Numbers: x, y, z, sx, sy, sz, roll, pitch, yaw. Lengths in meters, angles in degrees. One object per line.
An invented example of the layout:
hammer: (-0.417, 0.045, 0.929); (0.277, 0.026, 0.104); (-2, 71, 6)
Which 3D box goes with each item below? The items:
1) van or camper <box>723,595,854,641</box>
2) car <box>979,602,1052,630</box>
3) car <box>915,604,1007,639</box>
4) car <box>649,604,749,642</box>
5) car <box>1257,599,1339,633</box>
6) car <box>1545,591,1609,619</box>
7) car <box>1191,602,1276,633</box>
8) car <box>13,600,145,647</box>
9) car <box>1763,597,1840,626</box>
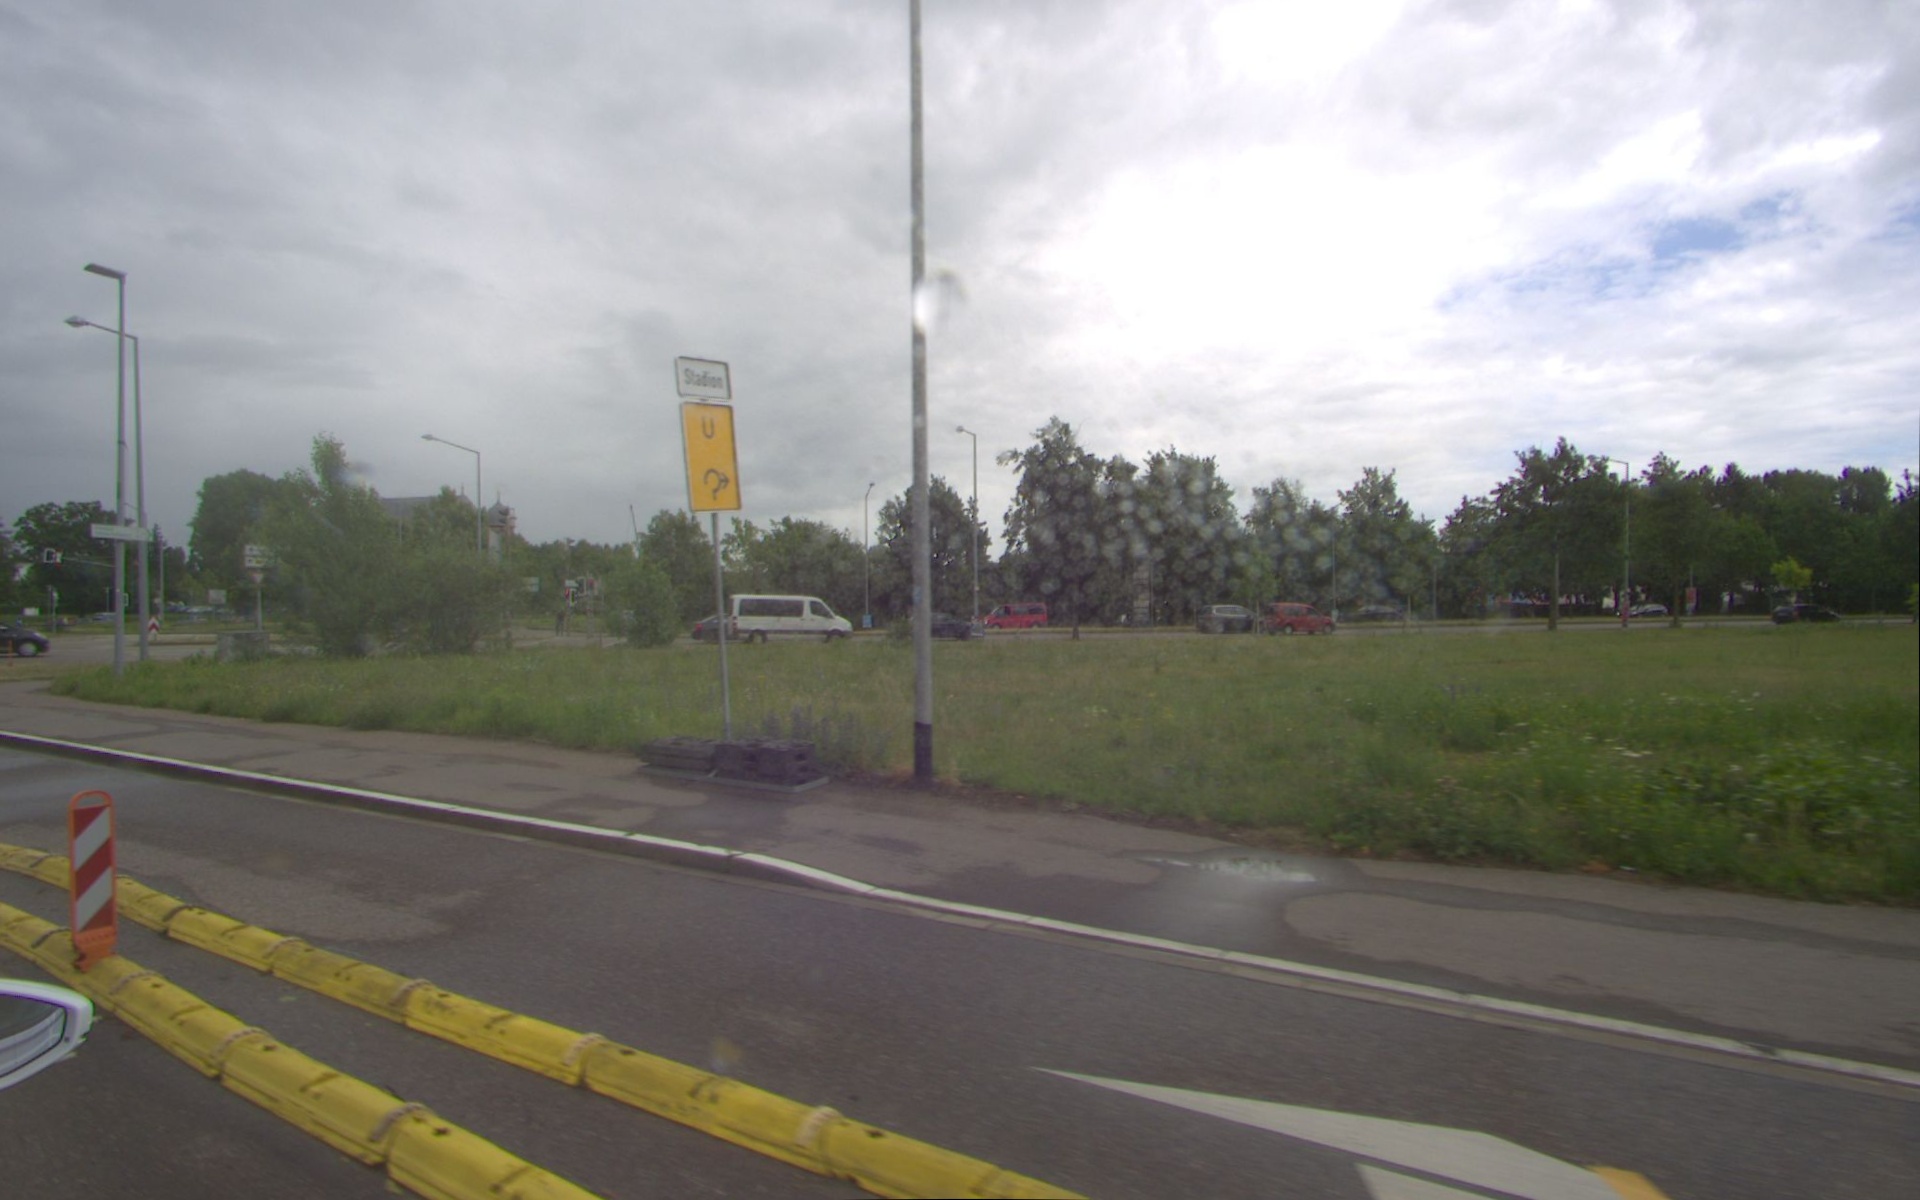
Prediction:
van or camper: (-8.008, 0.798, 46.828); (5.797, 2.040, 1.994); (0, 0, -23)
car: (3.908, 1.118, 70.722); (4.802, 1.943, 2.112); (0, 0, -16)
car: (0.045, 1.117, 52.786); (4.522, 1.819, 2.113); (0, 0, -12)
car: (-12.621, 1.073, 48.438); (4.310, 1.773, 1.990); (0, 0, -29)
car: (19.622, 0.915, 58.174); (4.135, 1.943, 2.111); (0, 0, -18)
car: (45.823, 0.401, 74.359); (3.930, 2.040, 1.996); (0, 0, -18)
car: (16.414, 1.013, 60.143); (4.525, 1.819, 2.112); (0, 0, -15)
car: (-36.524, 0.994, 41.651); (3.952, 1.872, 1.986); (1, -2, -37)
car: (55.354, 0.726, 65.886); (4.135, 1.838, 2.073); (0, 0, -18)
